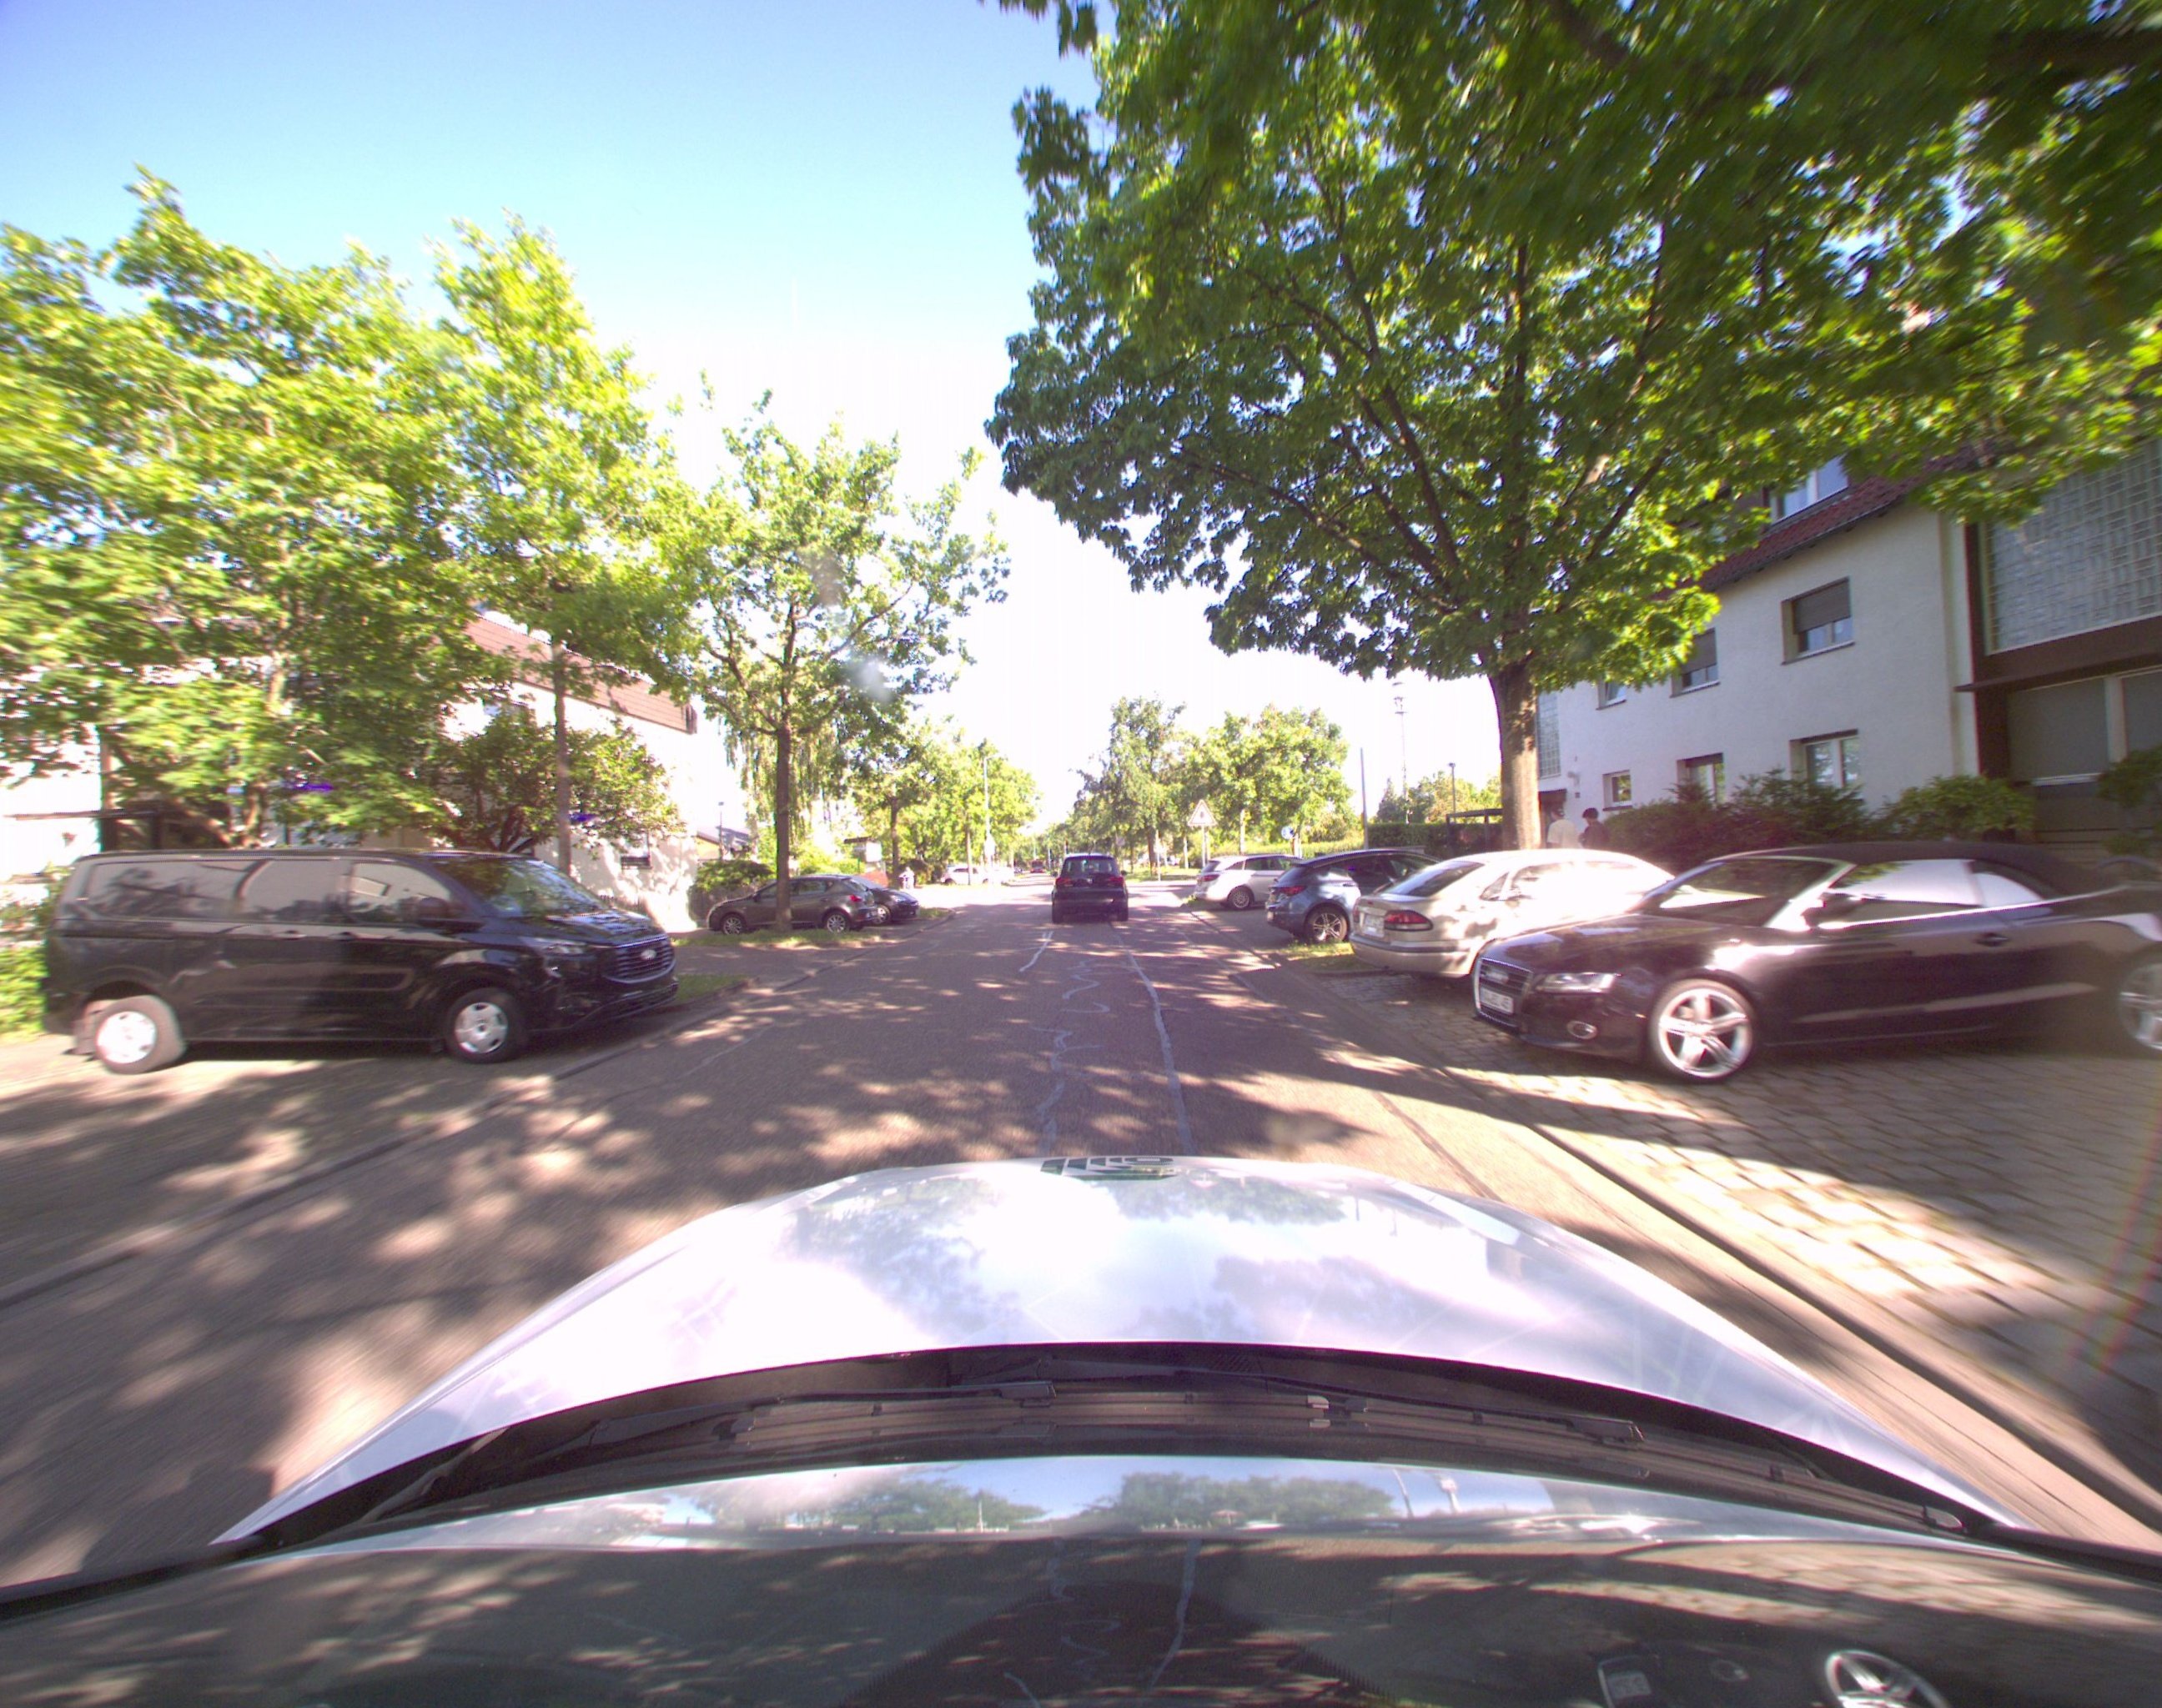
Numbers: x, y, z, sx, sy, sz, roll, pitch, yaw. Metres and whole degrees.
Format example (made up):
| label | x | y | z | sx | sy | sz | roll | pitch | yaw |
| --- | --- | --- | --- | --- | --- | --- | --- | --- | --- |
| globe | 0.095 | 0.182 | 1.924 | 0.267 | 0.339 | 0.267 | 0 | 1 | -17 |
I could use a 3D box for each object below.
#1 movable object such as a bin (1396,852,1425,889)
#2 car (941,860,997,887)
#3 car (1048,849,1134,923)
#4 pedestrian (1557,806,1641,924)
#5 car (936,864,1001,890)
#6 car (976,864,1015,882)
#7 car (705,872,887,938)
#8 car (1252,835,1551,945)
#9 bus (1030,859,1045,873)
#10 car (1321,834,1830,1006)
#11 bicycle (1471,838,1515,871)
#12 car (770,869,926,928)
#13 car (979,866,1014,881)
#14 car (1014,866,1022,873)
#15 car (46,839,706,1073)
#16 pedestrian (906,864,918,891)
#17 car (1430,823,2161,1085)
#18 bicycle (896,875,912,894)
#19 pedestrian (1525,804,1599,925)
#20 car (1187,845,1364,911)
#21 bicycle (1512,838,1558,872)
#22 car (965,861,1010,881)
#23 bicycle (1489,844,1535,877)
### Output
| label | x | y | z | sx | sy | sz | roll | pitch | yaw |
| --- | --- | --- | --- | --- | --- | --- | --- | --- | --- |
| movable object such as a bin | 9.814 | 0.491 | 24.270 | 0.532 | 1.045 | 0.700 | -3 | -1 | 0 |
| car | -8.537 | 1.495 | 62.277 | 4.006 | 1.839 | 1.895 | -3 | 0 | -2 |
| car | 0.350 | 0.749 | 20.740 | 1.829 | 1.636 | 3.963 | -2 | 0 | 5 |
| pedestrian | 8.414 | 0.184 | 13.259 | 0.831 | 1.828 | 0.711 | -3 | -1 | 4 |
| car | -7.806 | 1.578 | 56.874 | 4.231 | 1.623 | 1.895 | -3 | -1 | -2 |
| car | -9.205 | 2.049 | 87.773 | 4.006 | 1.647 | 1.809 | -3 | -1 | -2 |
| car | -6.914 | 1.229 | 20.026 | 3.806 | 1.419 | 1.772 | -1 | 0 | 0 |
| car | 5.191 | 0.569 | 13.628 | 4.259 | 1.503 | 1.798 | -3 | 0 | 2 |
| bus | -9.919 | 2.722 | 186.299 | 2.921 | 3.004 | 5.732 | -3 | -1 | -2 |
| car | 4.954 | 0.634 | 8.665 | 4.259 | 1.414 | 1.798 | -3 | 0 | 2 |
| bicycle | 14.381 | 0.014 | 28.414 | 1.679 | 1.054 | 0.527 | -3 | 0 | -31 |
| car | -6.498 | 1.231 | 23.008 | 3.842 | 1.459 | 1.714 | -2 | 0 | 2 |
| car | -10.098 | 2.347 | 98.045 | 4.006 | 1.647 | 1.809 | -2 | 0 | -3 |
| car | -15.853 | 3.834 | 204.924 | 1.848 | 1.693 | 3.952 | -3 | -1 | -2 |
| car | -6.627 | 0.890 | 8.126 | 4.762 | 1.917 | 2.019 | -2 | 0 | 0 |
| pedestrian | -9.996 | 1.369 | 48.084 | 0.439 | 1.557 | 0.801 | -3 | 0 | 1 |
| car | 5.090 | 0.603 | 5.830 | 4.329 | 1.363 | 1.874 | -3 | -1 | 2 |
| bicycle | -10.426 | 1.782 | 48.037 | 0.445 | 1.039 | 1.893 | -3 | -1 | 1 |
| pedestrian | 7.831 | 0.169 | 13.293 | 0.605 | 1.873 | 0.925 | -3 | -1 | 4 |
| car | 5.234 | 0.643 | 22.355 | 4.411 | 1.491 | 1.798 | -3 | 0 | 2 |
| bicycle | 15.189 | 0.039 | 27.234 | 1.679 | 1.054 | 0.527 | -3 | 0 | -31 |
| car | -8.848 | 1.609 | 77.270 | 4.006 | 1.647 | 1.809 | -3 | 0 | -2 |
| bicycle | 14.741 | 0.224 | 27.851 | 1.679 | 1.054 | 0.527 | -3 | 0 | -31 |
